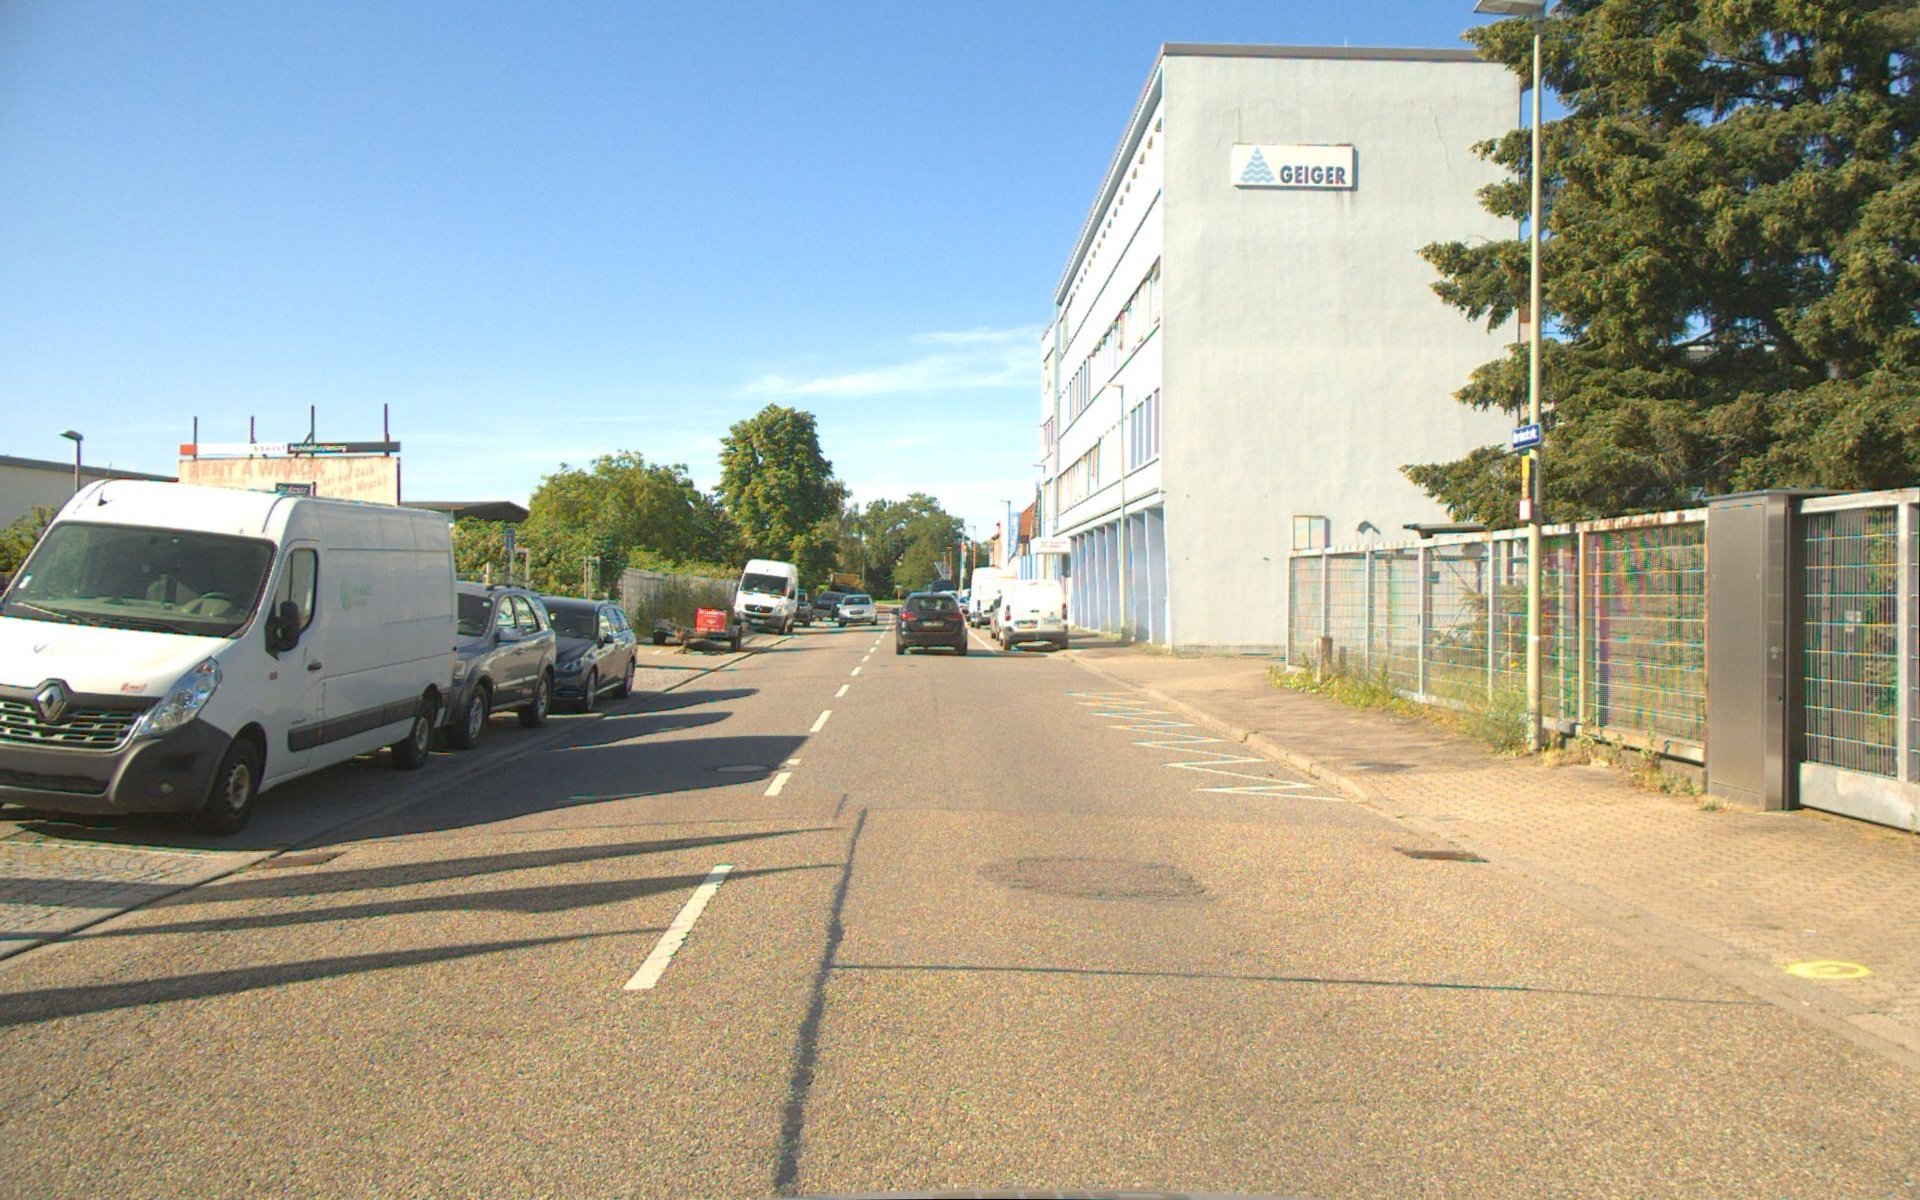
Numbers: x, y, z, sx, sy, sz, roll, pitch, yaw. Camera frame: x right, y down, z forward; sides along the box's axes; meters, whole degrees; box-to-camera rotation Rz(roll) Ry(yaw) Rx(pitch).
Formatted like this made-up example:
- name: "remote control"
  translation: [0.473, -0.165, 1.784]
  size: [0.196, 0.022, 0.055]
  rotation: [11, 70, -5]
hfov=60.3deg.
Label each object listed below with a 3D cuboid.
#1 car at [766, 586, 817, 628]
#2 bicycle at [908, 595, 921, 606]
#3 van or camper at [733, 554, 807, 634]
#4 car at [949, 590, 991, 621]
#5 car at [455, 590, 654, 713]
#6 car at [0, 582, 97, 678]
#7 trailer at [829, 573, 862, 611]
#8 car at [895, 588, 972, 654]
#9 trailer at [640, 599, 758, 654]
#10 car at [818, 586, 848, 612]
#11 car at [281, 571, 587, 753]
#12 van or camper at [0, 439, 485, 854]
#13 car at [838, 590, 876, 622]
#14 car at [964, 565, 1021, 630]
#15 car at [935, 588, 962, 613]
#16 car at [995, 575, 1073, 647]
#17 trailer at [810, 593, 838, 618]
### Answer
- name: "car"
  translation: [-7.695, 0.274, 75.944]
  size: [1.990, 1.723, 5.103]
  rotation: [4, 0, -3]
- name: "bicycle"
  translation: [-5.492, 0.078, 198.827]
  size: [0.793, 1.290, 2.242]
  rotation: [2, -1, -23]
- name: "van or camper"
  translation: [-7.133, -0.236, 62.702]
  size: [1.926, 2.731, 5.947]
  rotation: [5, 0, 0]
- name: "car"
  translation: [0.473, 0.293, 83.216]
  size: [1.856, 1.430, 5.121]
  rotation: [2, 0, -2]
- name: "car"
  translation: [-5.921, 0.685, 24.782]
  size: [1.763, 1.536, 5.001]
  rotation: [4, 0, -1]
- name: "car"
  translation: [-17.420, 0.483, 28.584]
  size: [4.069, 1.601, 1.918]
  rotation: [0, 0, 8]
- name: "trailer"
  translation: [-10.781, -0.726, 156.165]
  size: [2.932, 3.503, 8.156]
  rotation: [0, 0, -3]
- name: "car"
  translation: [-0.669, 0.478, 40.861]
  size: [1.810, 1.557, 3.999]
  rotation: [0, 0, -1]
- name: "trailer"
  translation: [-6.842, 0.658, 44.072]
  size: [2.329, 1.098, 6.243]
  rotation: [4, 1, -2]
- name: "car"
  translation: [-8.840, -0.114, 115.365]
  size: [1.755, 1.761, 4.802]
  rotation: [0, 0, 0]
- name: "car"
  translation: [-5.990, 0.629, 19.496]
  size: [1.953, 1.768, 4.575]
  rotation: [4, 0, 1]
- name: "van or camper"
  translation: [-5.923, 0.259, 13.945]
  size: [2.029, 2.593, 6.401]
  rotation: [4, 0, -2]
- name: "car"
  translation: [-4.898, 0.281, 79.168]
  size: [1.712, 1.473, 4.359]
  rotation: [0, 0, -2]
- name: "car"
  translation: [1.356, -0.182, 71.590]
  size: [1.954, 2.643, 6.047]
  rotation: [-2, 1, -3]
- name: "car"
  translation: [-0.922, 0.063, 127.530]
  size: [1.848, 1.829, 5.100]
  rotation: [2, 0, -3]
- name: "car"
  translation: [1.997, 0.291, 45.857]
  size: [1.851, 1.864, 5.090]
  rotation: [1, 0, -1]
- name: "trailer"
  translation: [-8.005, 0.313, 97.168]
  size: [1.447, 1.378, 3.077]
  rotation: [2, 0, -2]
